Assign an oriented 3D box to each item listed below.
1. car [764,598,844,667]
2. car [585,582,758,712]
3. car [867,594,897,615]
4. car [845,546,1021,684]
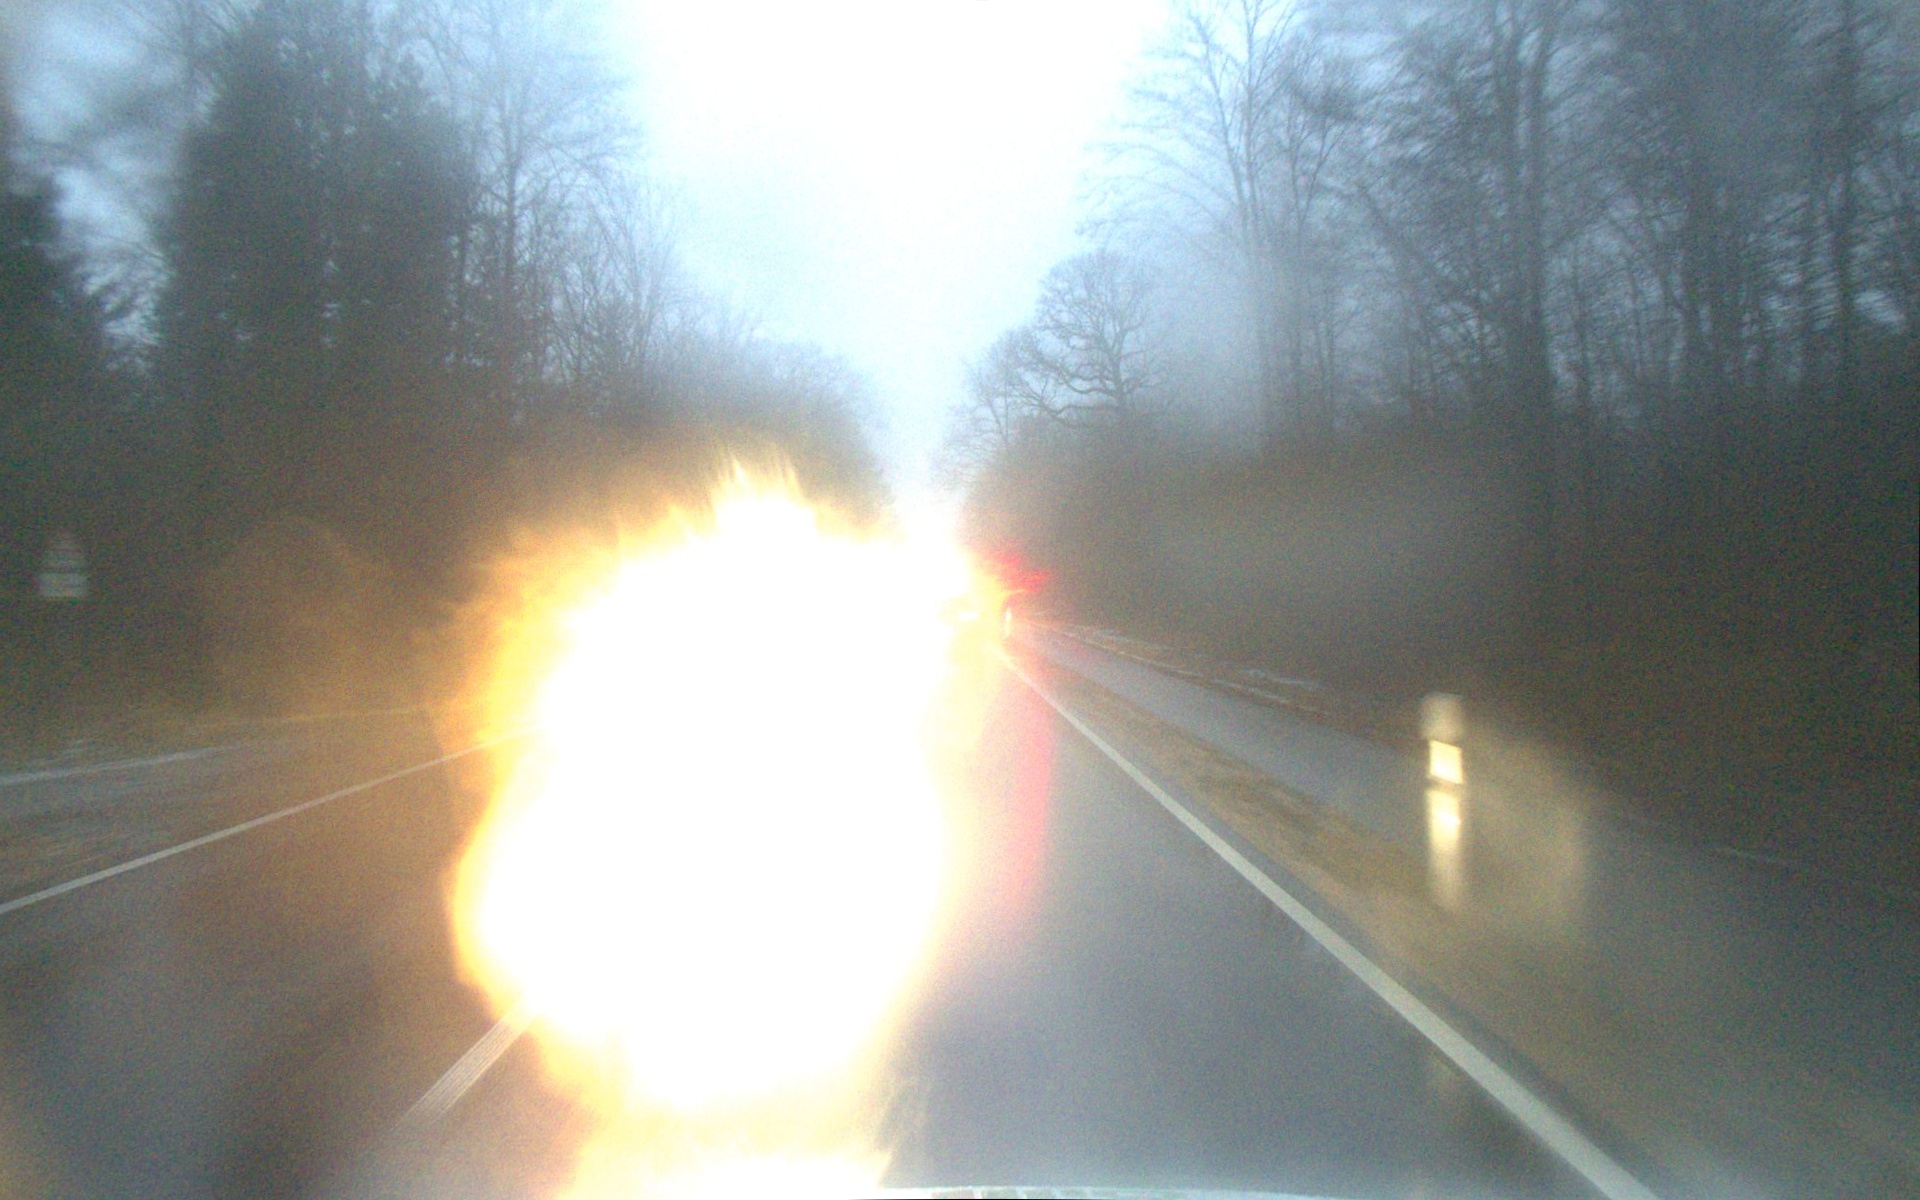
[{"bbox_3d":[-4.267,0.841,45.950,1.785,1.677,4.749,-2,1,-1],"label":"car"},{"bbox_3d":[-3.962,0.606,23.291,1.763,1.628,3.861,-2,0,-1],"label":"car"},{"bbox_3d":[-6.001,0.328,127.406,1.934,1.595,4.928,-1,0,1],"label":"car"},{"bbox_3d":[-0.481,0.288,33.081,3.118,2.428,6.636,1,0,0],"label":"car"}]
